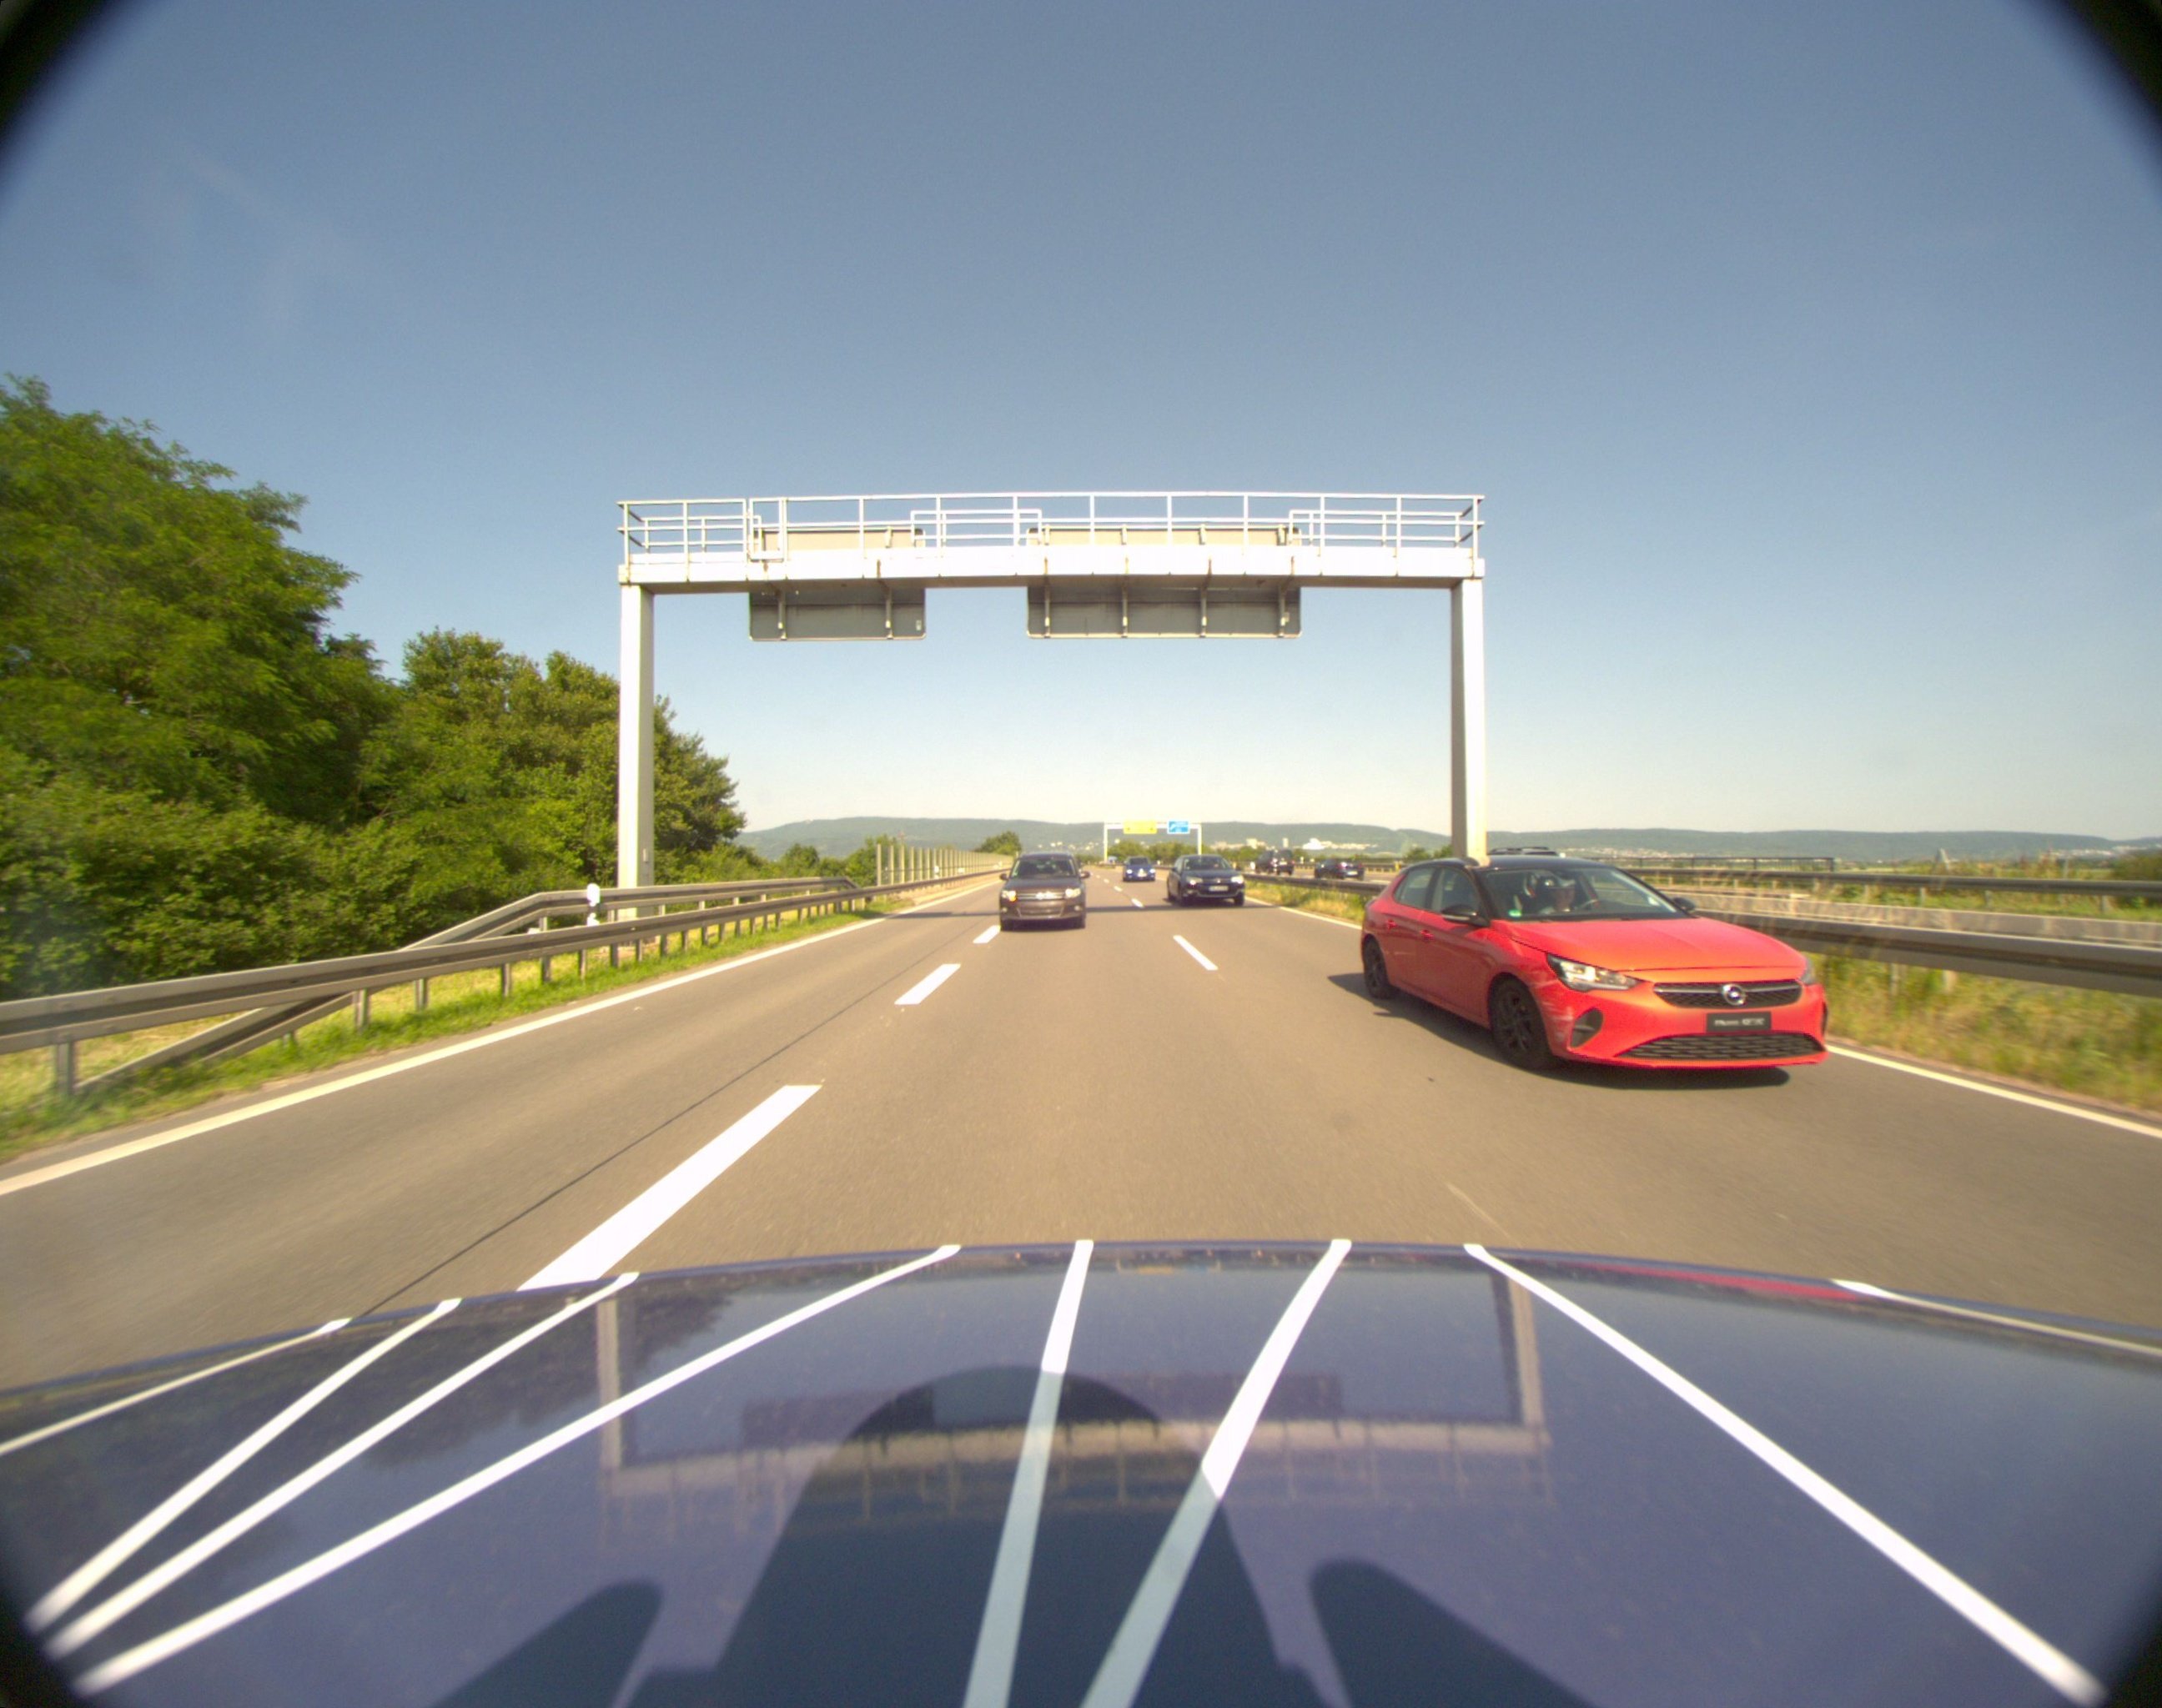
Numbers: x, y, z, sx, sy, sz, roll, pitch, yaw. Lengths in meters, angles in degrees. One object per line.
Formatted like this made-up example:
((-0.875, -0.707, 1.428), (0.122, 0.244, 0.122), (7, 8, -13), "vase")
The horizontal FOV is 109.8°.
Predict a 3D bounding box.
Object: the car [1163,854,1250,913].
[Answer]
((3.656, 0.793, 22.813), (1.788, 1.524, 4.374), (-2, 0, -1), "car")

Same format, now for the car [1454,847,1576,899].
((14.856, 0.619, 26.278), (1.737, 1.607, 4.001), (-2, 0, -3), "car")

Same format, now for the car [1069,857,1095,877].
((0.102, 0.876, 51.965), (1.600, 1.241, 4.000), (-2, 0, 1), "car")

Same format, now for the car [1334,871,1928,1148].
((3.701, 0.888, 6.306), (1.713, 1.428, 4.412), (-1, -1, 0), "car")

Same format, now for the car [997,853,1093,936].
((-0.694, 0.839, 17.427), (1.789, 1.637, 4.149), (-2, 0, 2), "car")

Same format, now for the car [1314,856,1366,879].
((14.815, 0.761, 43.637), (1.570, 1.262, 3.715), (-2, 0, -2), "car")

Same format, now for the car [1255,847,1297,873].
((14.982, 0.428, 58.549), (1.999, 1.895, 4.417), (-1, 0, -1), "car")

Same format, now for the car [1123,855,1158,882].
((3.444, 0.828, 44.513), (1.652, 1.403, 3.775), (-2, 1, 0), "car")
